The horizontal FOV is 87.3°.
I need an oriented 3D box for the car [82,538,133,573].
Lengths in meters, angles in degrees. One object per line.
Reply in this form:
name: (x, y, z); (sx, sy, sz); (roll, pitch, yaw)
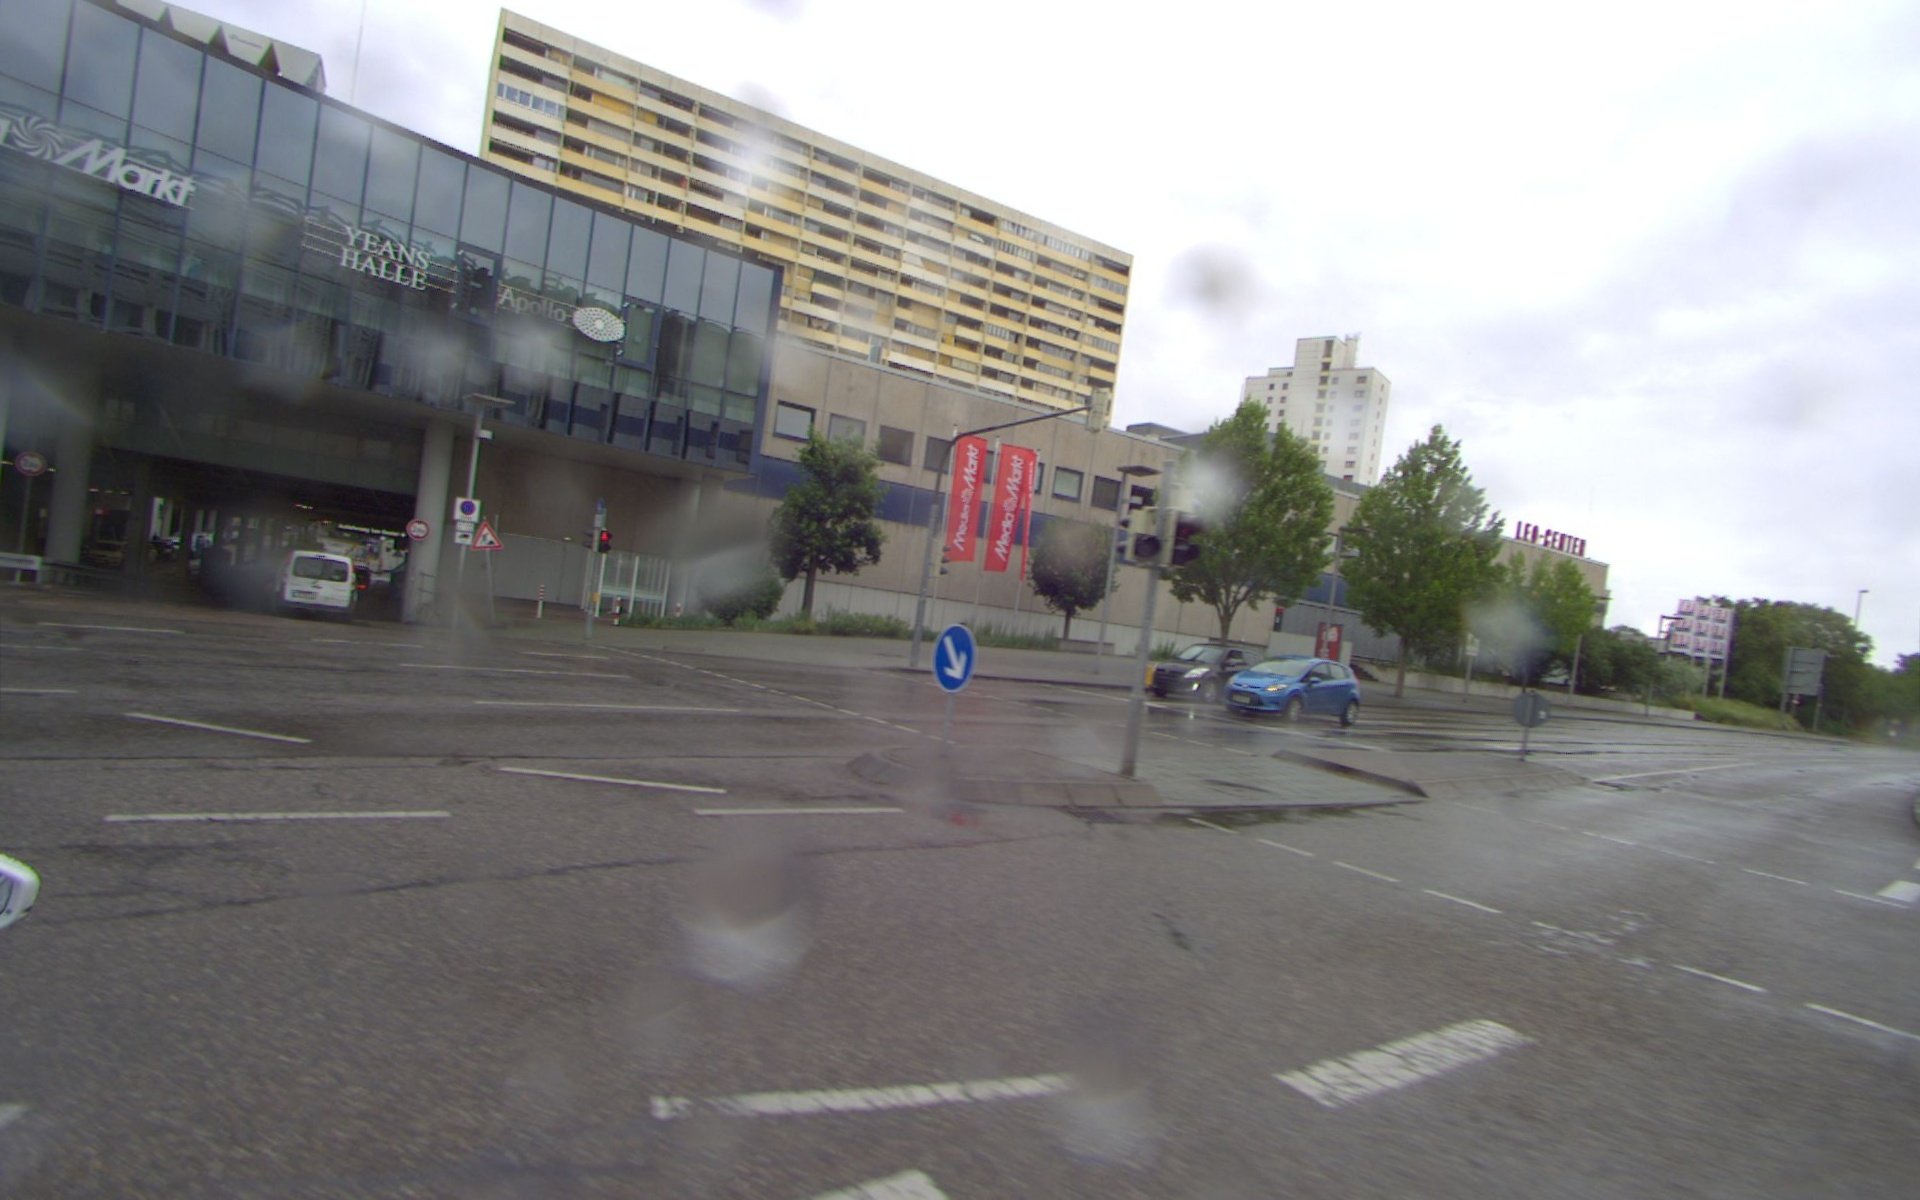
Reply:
car: (-50.829, -2.650, 60.041); (1.826, 1.748, 3.961); (8, -1, -36)

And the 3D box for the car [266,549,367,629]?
car: (-17.534, -0.335, 27.325); (1.916, 1.818, 4.255); (7, -2, -36)

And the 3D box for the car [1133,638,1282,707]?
car: (6.433, 1.887, 26.007); (3.665, 1.412, 1.726); (7, 0, -38)

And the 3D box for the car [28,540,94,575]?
car: (-49.170, -2.344, 55.112); (1.901, 1.607, 3.907); (7, -1, -31)

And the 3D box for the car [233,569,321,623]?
car: (-22.517, -0.094, 33.323); (1.742, 1.480, 3.922); (7, -3, -26)

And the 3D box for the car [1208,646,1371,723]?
car: (7.589, 1.953, 23.039); (3.824, 1.414, 1.661); (7, 0, -39)

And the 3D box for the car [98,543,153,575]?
car: (-54.230, -2.662, 65.436); (1.981, 1.682, 3.967); (10, -2, -31)

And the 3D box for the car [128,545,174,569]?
car: (-57.953, -3.098, 72.137); (1.979, 1.481, 3.967); (7, -1, -31)
